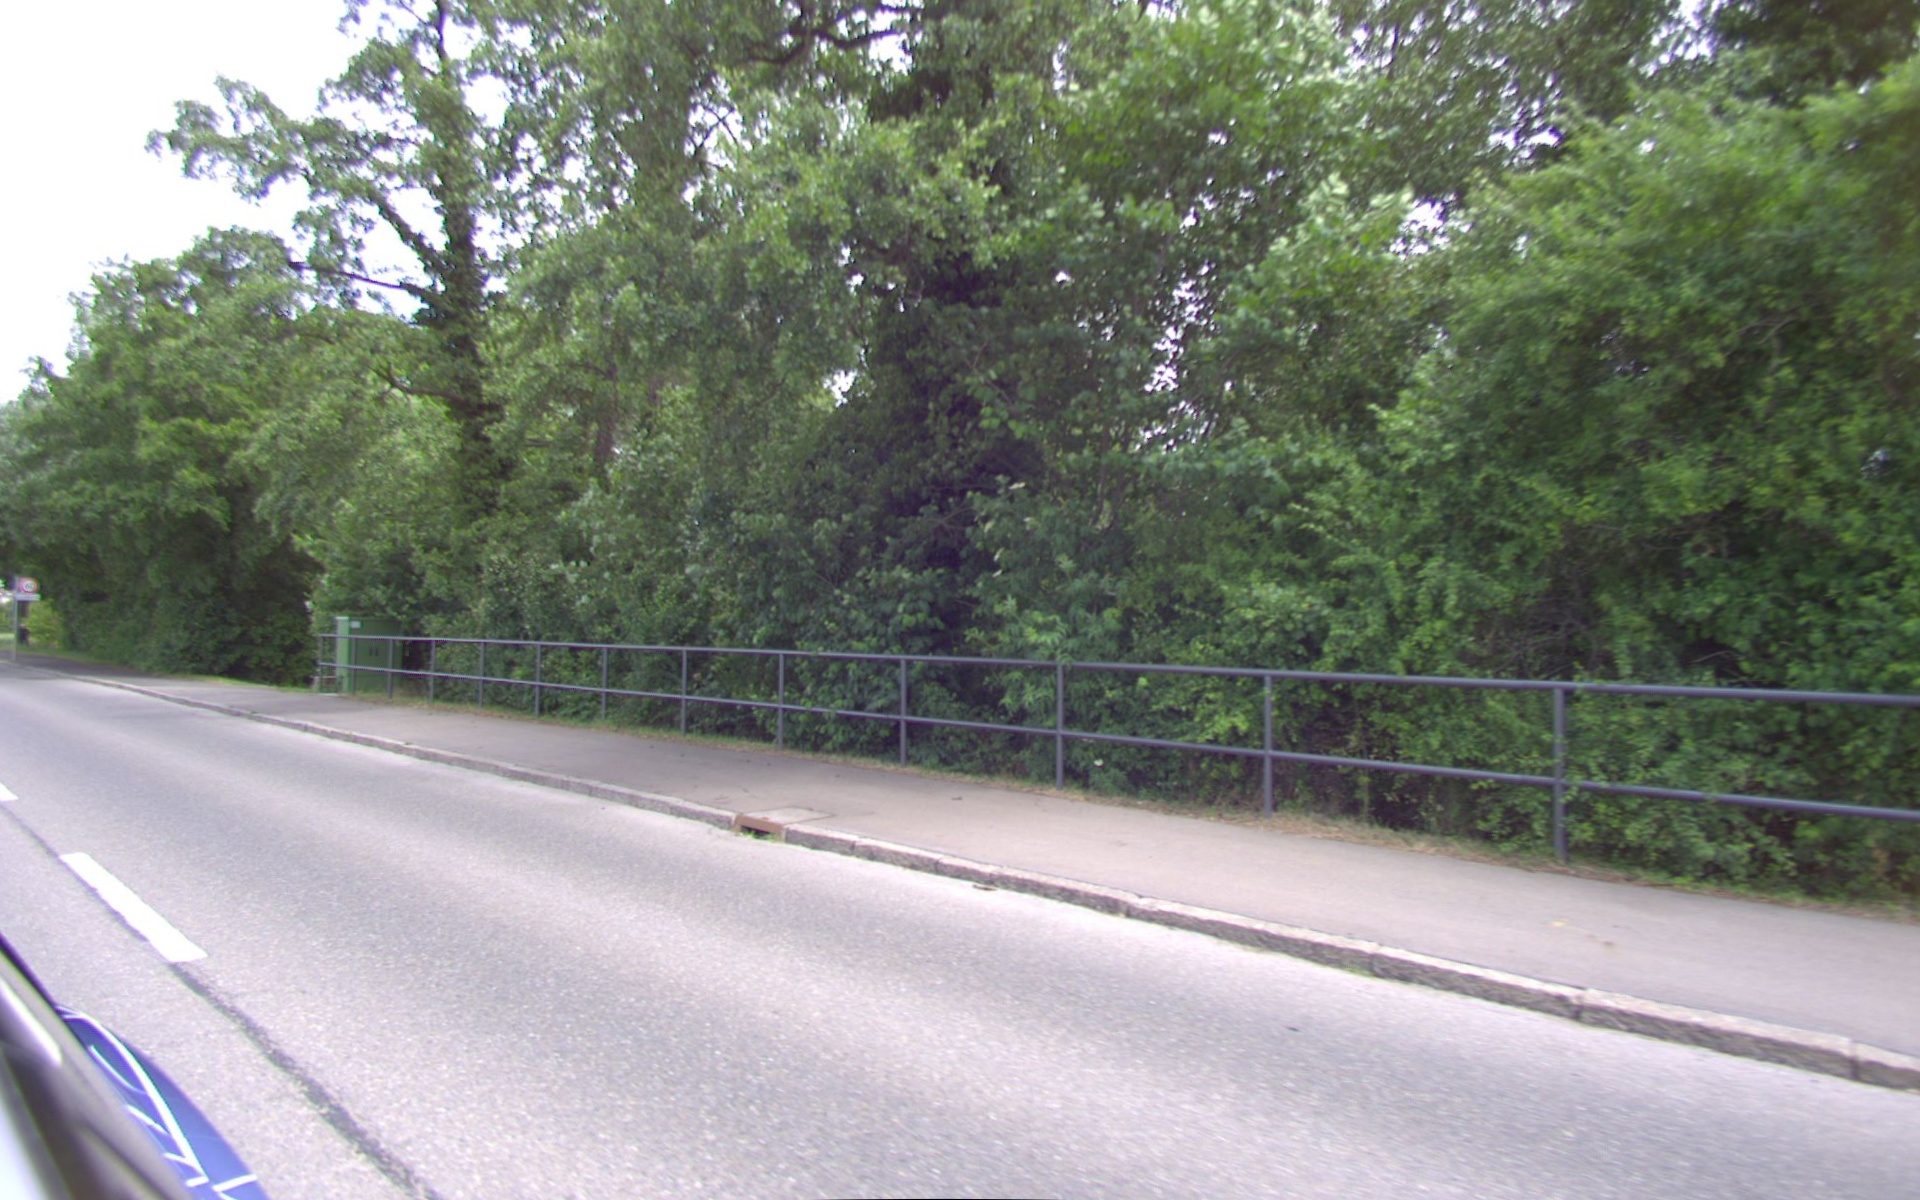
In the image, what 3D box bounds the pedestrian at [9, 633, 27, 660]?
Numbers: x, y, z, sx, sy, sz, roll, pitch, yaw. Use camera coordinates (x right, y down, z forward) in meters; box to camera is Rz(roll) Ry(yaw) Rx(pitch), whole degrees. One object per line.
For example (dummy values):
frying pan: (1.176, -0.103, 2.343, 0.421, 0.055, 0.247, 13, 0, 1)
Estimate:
pedestrian: (-56.363, 2.787, 60.550, 0.695, 1.606, 0.708, 2, -4, -38)
